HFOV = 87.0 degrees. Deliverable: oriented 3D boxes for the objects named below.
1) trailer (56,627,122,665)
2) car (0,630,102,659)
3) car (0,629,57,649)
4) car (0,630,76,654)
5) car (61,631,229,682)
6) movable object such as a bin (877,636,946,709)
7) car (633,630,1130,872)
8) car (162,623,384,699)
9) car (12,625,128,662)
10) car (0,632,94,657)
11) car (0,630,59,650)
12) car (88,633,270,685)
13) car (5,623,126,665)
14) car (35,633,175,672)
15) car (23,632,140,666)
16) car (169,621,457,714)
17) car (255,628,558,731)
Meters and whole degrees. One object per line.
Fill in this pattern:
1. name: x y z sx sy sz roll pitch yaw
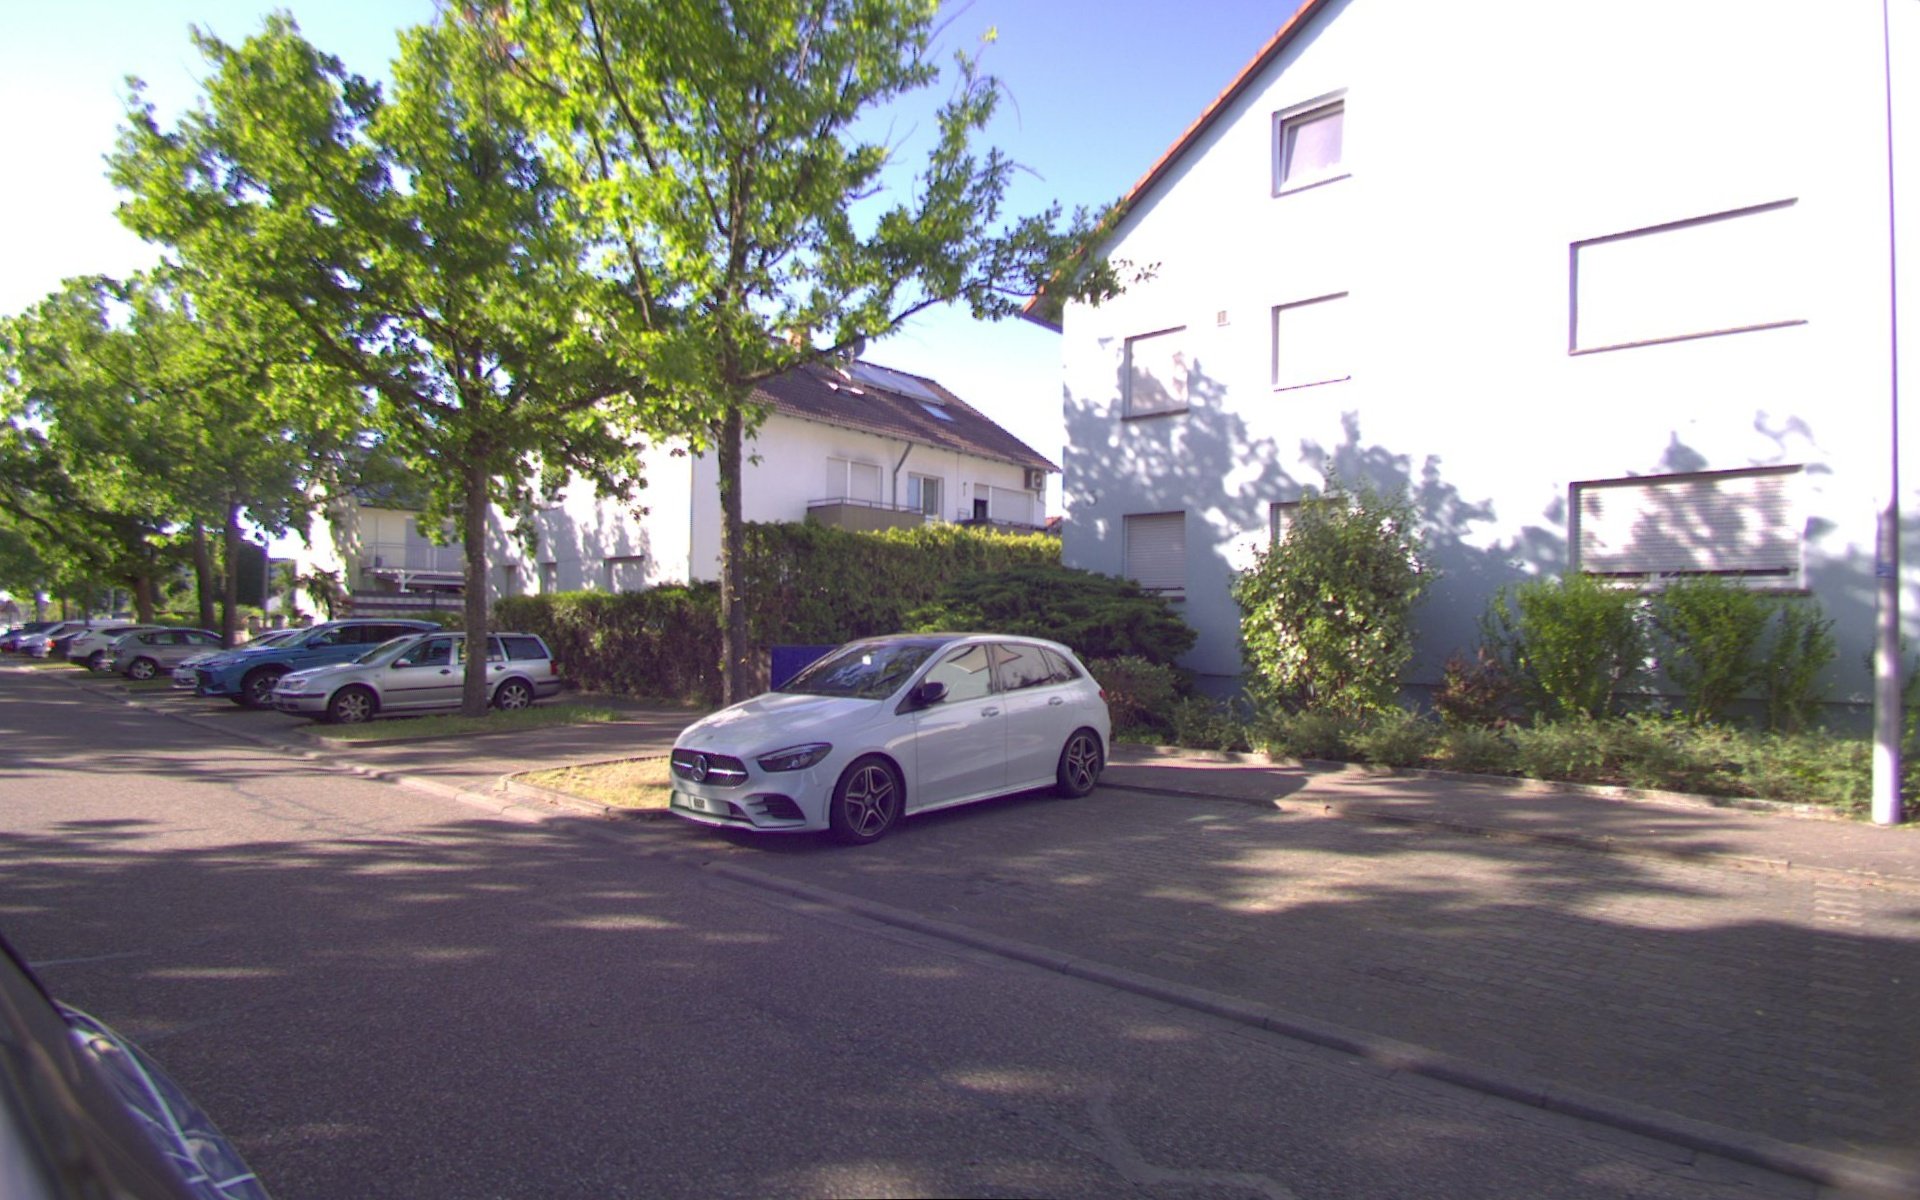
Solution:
1. trailer: -39.852 2.078 46.331 2.209 1.686 1.476 2 -3 -43
2. car: -50.762 2.459 56.297 1.837 1.511 4.427 -2 -3 43
3. car: -74.899 3.130 80.799 1.920 1.586 3.914 -1 -3 38
4. car: -60.309 2.709 65.928 3.954 1.526 1.796 2 -3 -44
5. car: -27.004 1.846 33.614 1.793 1.579 4.140 -2 -3 44
6. movable object such as a bin: -0.930 1.380 19.688 0.692 1.361 1.216 -2 -3 41
7. car: -0.439 1.040 8.726 1.768 1.489 4.230 -2 -1 42
8. car: -15.891 1.367 23.546 1.857 1.608 3.943 -2 -3 43
9. car: -45.329 2.196 51.586 1.966 1.783 4.194 -2 -3 41
10. car: -54.562 2.660 60.326 1.721 1.435 4.231 -1 -3 37
11. car: -73.202 3.133 79.514 1.708 1.507 3.475 -2 -3 43
12. car: -23.104 1.701 30.044 1.809 1.434 3.991 -2 -3 41
13. car: -43.689 2.127 49.488 1.999 1.959 4.192 -2 -3 41
14. car: -34.327 2.073 40.711 4.161 1.483 1.692 2 -3 -44
15. car: -41.532 2.282 47.891 1.689 1.528 3.946 -1 -3 40
16. car: -12.731 1.280 20.123 1.938 1.643 4.473 -2 -3 44
17. car: -9.133 1.246 16.976 1.646 1.503 4.137 -2 -3 42
